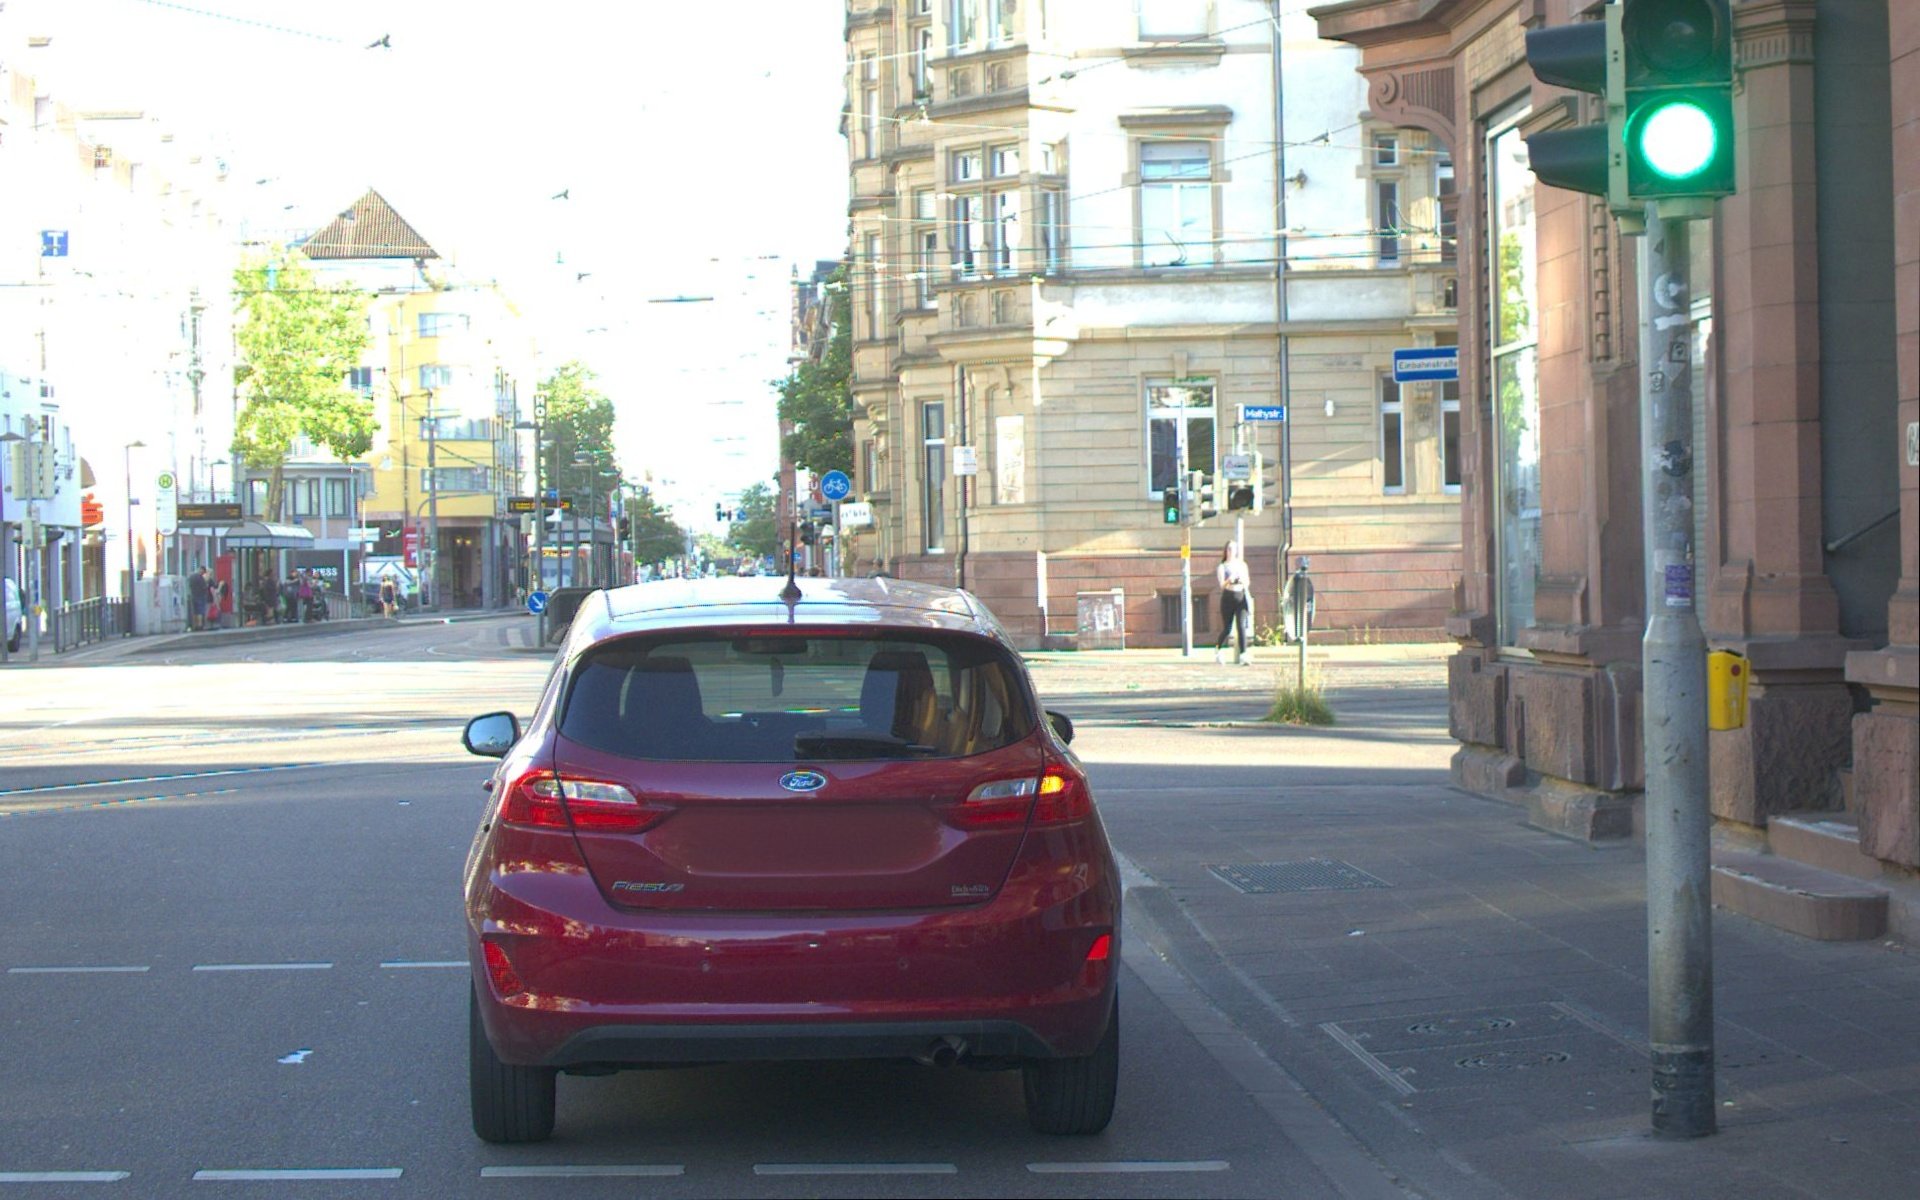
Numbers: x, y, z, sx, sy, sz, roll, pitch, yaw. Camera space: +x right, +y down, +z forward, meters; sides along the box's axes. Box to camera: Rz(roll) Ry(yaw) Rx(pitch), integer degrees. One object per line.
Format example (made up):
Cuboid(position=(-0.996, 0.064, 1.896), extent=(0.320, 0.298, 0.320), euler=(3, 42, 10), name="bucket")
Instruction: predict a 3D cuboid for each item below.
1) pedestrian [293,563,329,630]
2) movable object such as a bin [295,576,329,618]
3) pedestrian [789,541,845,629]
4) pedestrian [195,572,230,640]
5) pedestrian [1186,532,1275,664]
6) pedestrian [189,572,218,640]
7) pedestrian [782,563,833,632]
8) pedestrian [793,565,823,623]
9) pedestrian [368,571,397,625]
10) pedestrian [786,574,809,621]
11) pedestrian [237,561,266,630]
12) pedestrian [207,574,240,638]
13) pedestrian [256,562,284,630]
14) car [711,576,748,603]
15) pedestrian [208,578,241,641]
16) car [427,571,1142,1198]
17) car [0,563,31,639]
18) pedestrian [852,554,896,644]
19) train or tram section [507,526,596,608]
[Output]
Cuboid(position=(-18.728, -0.101, 99.172), extent=(0.931, 1.898, 0.881), euler=(-1, 0, -6), name="pedestrian")
Cuboid(position=(-19.856, -0.100, 105.414), extent=(0.937, 1.282, 0.935), euler=(-1, 0, -5), name="movable object such as a bin")
Cuboid(position=(-2.850, -0.297, 68.417), extent=(0.794, 1.715, 0.719), euler=(-2, -1, -34), name="pedestrian")
Cuboid(position=(-19.301, 0.154, 88.782), extent=(0.765, 1.727, 0.519), euler=(-1, 0, 38), name="pedestrian")
Cuboid(position=(3.785, -0.033, 48.122), extent=(1.023, 1.801, 1.083), euler=(-1, 0, -7), name="pedestrian")
Cuboid(position=(-19.084, 0.152, 86.758), extent=(0.598, 1.686, 0.613), euler=(-1, 0, -3), name="pedestrian")
Cuboid(position=(-2.997, -0.049, 67.593), extent=(0.718, 1.327, 0.796), euler=(-3, -1, 19), name="pedestrian")
Cuboid(position=(-4.416, -0.188, 99.860), extent=(0.762, 1.640, 0.832), euler=(-2, 1, -4), name="pedestrian")
Cuboid(position=(-20.615, -0.061, 122.731), extent=(0.878, 1.898, 0.935), euler=(-1, 0, -19), name="pedestrian")
Cuboid(position=(-6.315, -0.112, 133.589), extent=(0.713, 1.768, 0.773), euler=(-4, 2, -6), name="pedestrian")
Cuboid(position=(-19.919, -0.126, 96.659), extent=(0.695, 1.898, 0.672), euler=(-1, 0, -6), name="pedestrian")
Cuboid(position=(-19.522, 0.158, 91.148), extent=(0.695, 1.685, 0.672), euler=(-1, 0, -27), name="pedestrian")
Cuboid(position=(-19.571, -0.119, 97.485), extent=(0.695, 1.898, 0.672), euler=(-1, 0, -6), name="pedestrian")
Cuboid(position=(-12.441, -0.558, 185.710), extent=(1.993, 1.444, 4.001), euler=(0, 0, -4), name="car")
Cuboid(position=(-19.871, 0.245, 92.901), extent=(0.695, 1.685, 0.672), euler=(-1, 0, -27), name="pedestrian")
Cuboid(position=(-0.577, 0.677, 10.051), extent=(1.692, 1.490, 3.580), euler=(1, 0, -5), name="car")
Cuboid(position=(-24.282, 0.028, 84.098), extent=(1.993, 1.831, 5.347), euler=(-1, 0, -4), name="car")
Cuboid(position=(-1.771, -0.023, 70.774), extent=(0.800, 1.817, 0.797), euler=(-2, 1, -4), name="pedestrian")
Cuboid(position=(-18.345, -1.463, 155.288), extent=(2.885, 3.478, 14.169), euler=(-1, 0, -2), name="train or tram section")
